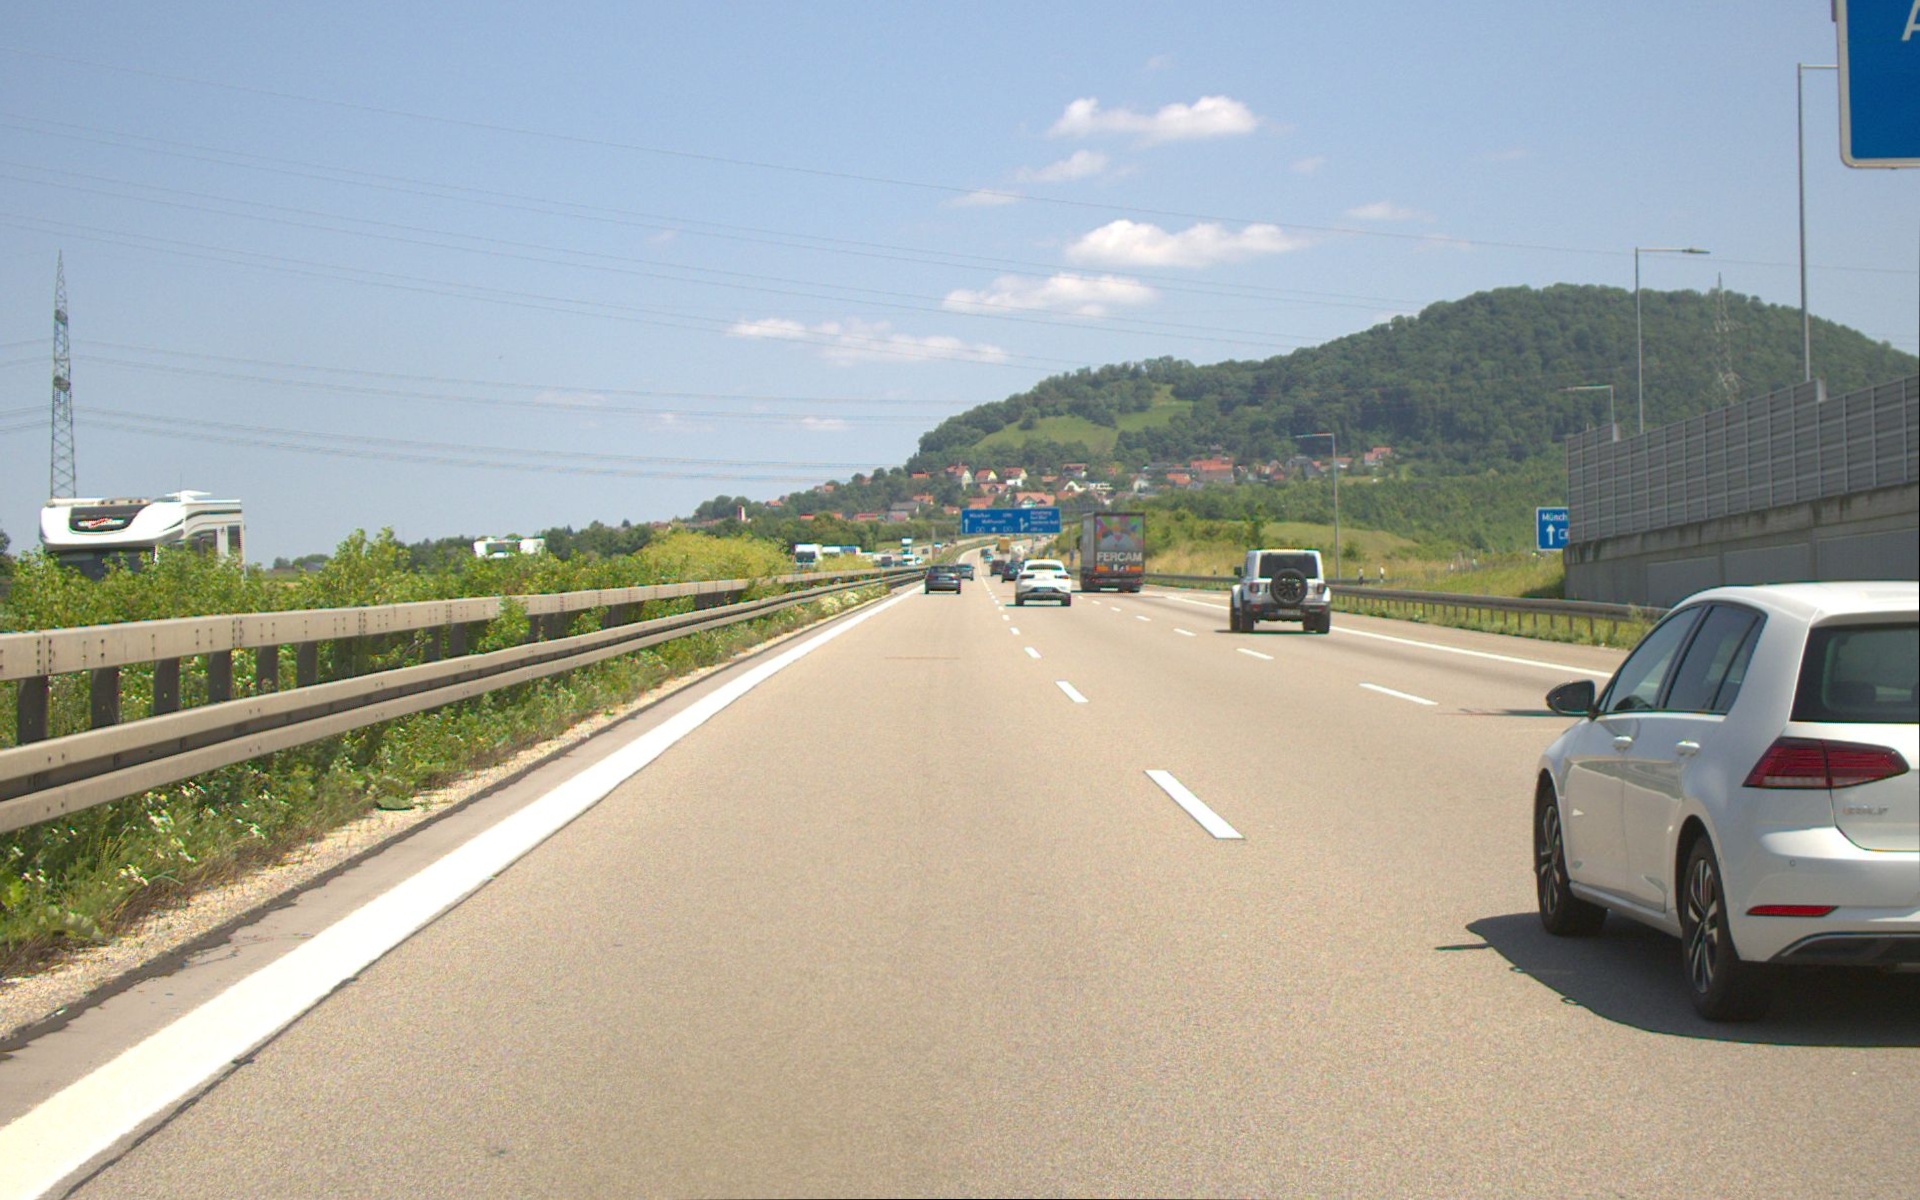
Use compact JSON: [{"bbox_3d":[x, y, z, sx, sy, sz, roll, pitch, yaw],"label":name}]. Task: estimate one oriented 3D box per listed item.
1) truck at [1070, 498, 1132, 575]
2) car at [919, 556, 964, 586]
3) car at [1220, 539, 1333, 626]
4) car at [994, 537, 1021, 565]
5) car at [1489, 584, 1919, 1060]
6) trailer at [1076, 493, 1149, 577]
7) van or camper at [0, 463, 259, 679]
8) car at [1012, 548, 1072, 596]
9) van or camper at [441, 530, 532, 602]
[{"bbox_3d":[7.507,-3.345,183.770,2.752,4.007,6.789,1,0,-2],"label":"truck"},{"bbox_3d":[-0.861,-1.345,161.333,1.993,1.384,4.000,1,0,1],"label":"car"},{"bbox_3d":[6.990,-0.415,76.228,2.034,1.798,4.251,-1,1,0],"label":"car"},{"bbox_3d":[3.549,-3.663,256.477,1.993,2.007,4.000,1,0,1],"label":"car"},{"bbox_3d":[3.238,0.671,12.740,1.776,1.428,4.691,1,0,0],"label":"car"},{"bbox_3d":[7.780,-3.283,176.788,2.725,4.141,11.809,1,0,-2],"label":"trailer"},{"bbox_3d":[-13.611,-0.494,56.746,2.523,3.256,7.375,-2,1,-1],"label":"van or camper"},{"bbox_3d":[2.839,-0.970,119.615,1.914,1.575,5.231,1,0,0],"label":"car"},{"bbox_3d":[-17.716,-1.239,129.003,2.535,2.527,6.709,0,-1,-1],"label":"van or camper"}]
